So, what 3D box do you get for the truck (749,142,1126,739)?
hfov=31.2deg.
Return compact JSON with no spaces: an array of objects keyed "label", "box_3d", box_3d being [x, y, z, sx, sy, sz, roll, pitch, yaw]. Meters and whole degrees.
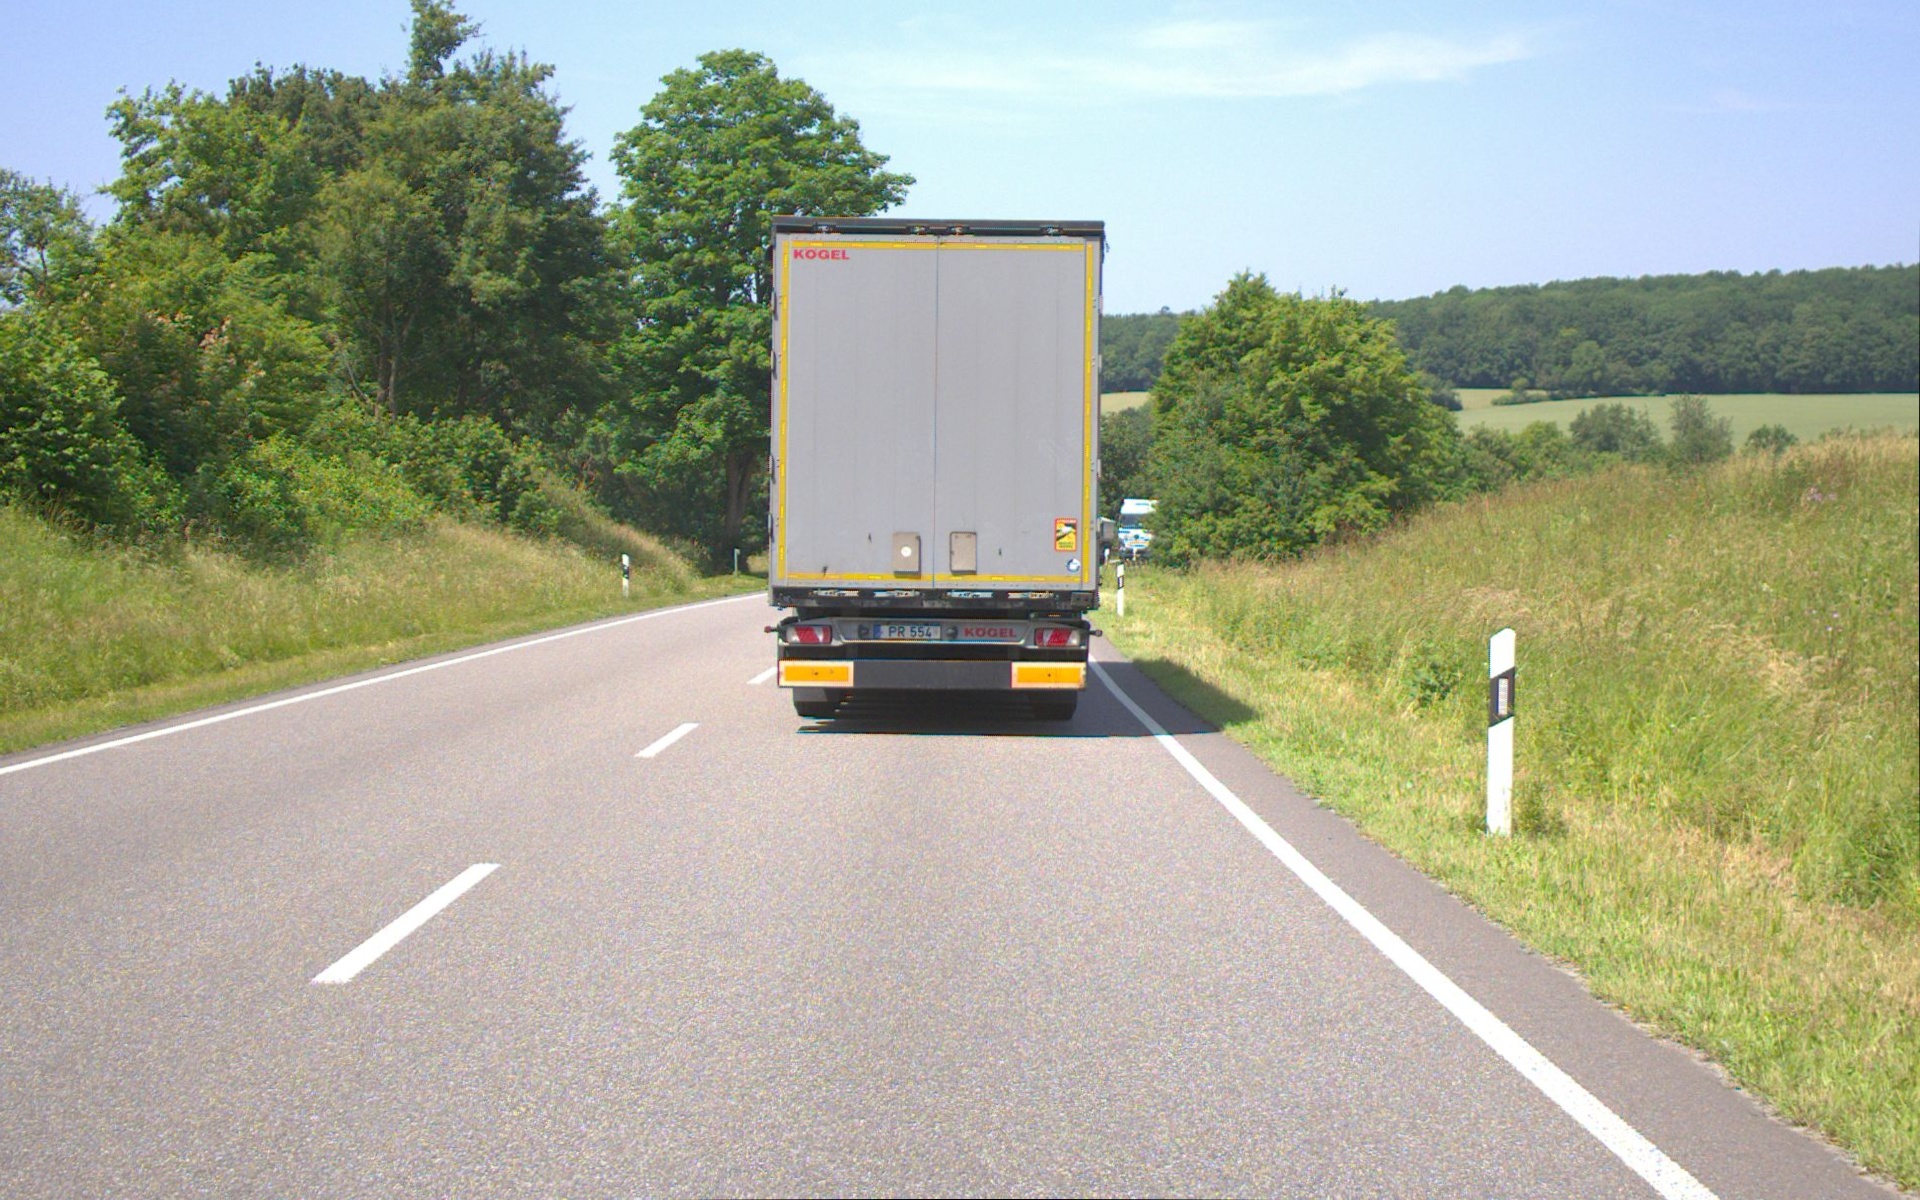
[{"label":"truck","box_3d":[-0.342,-1.344,32.165,2.817,4.517,11.769,1,1,-2]}]
